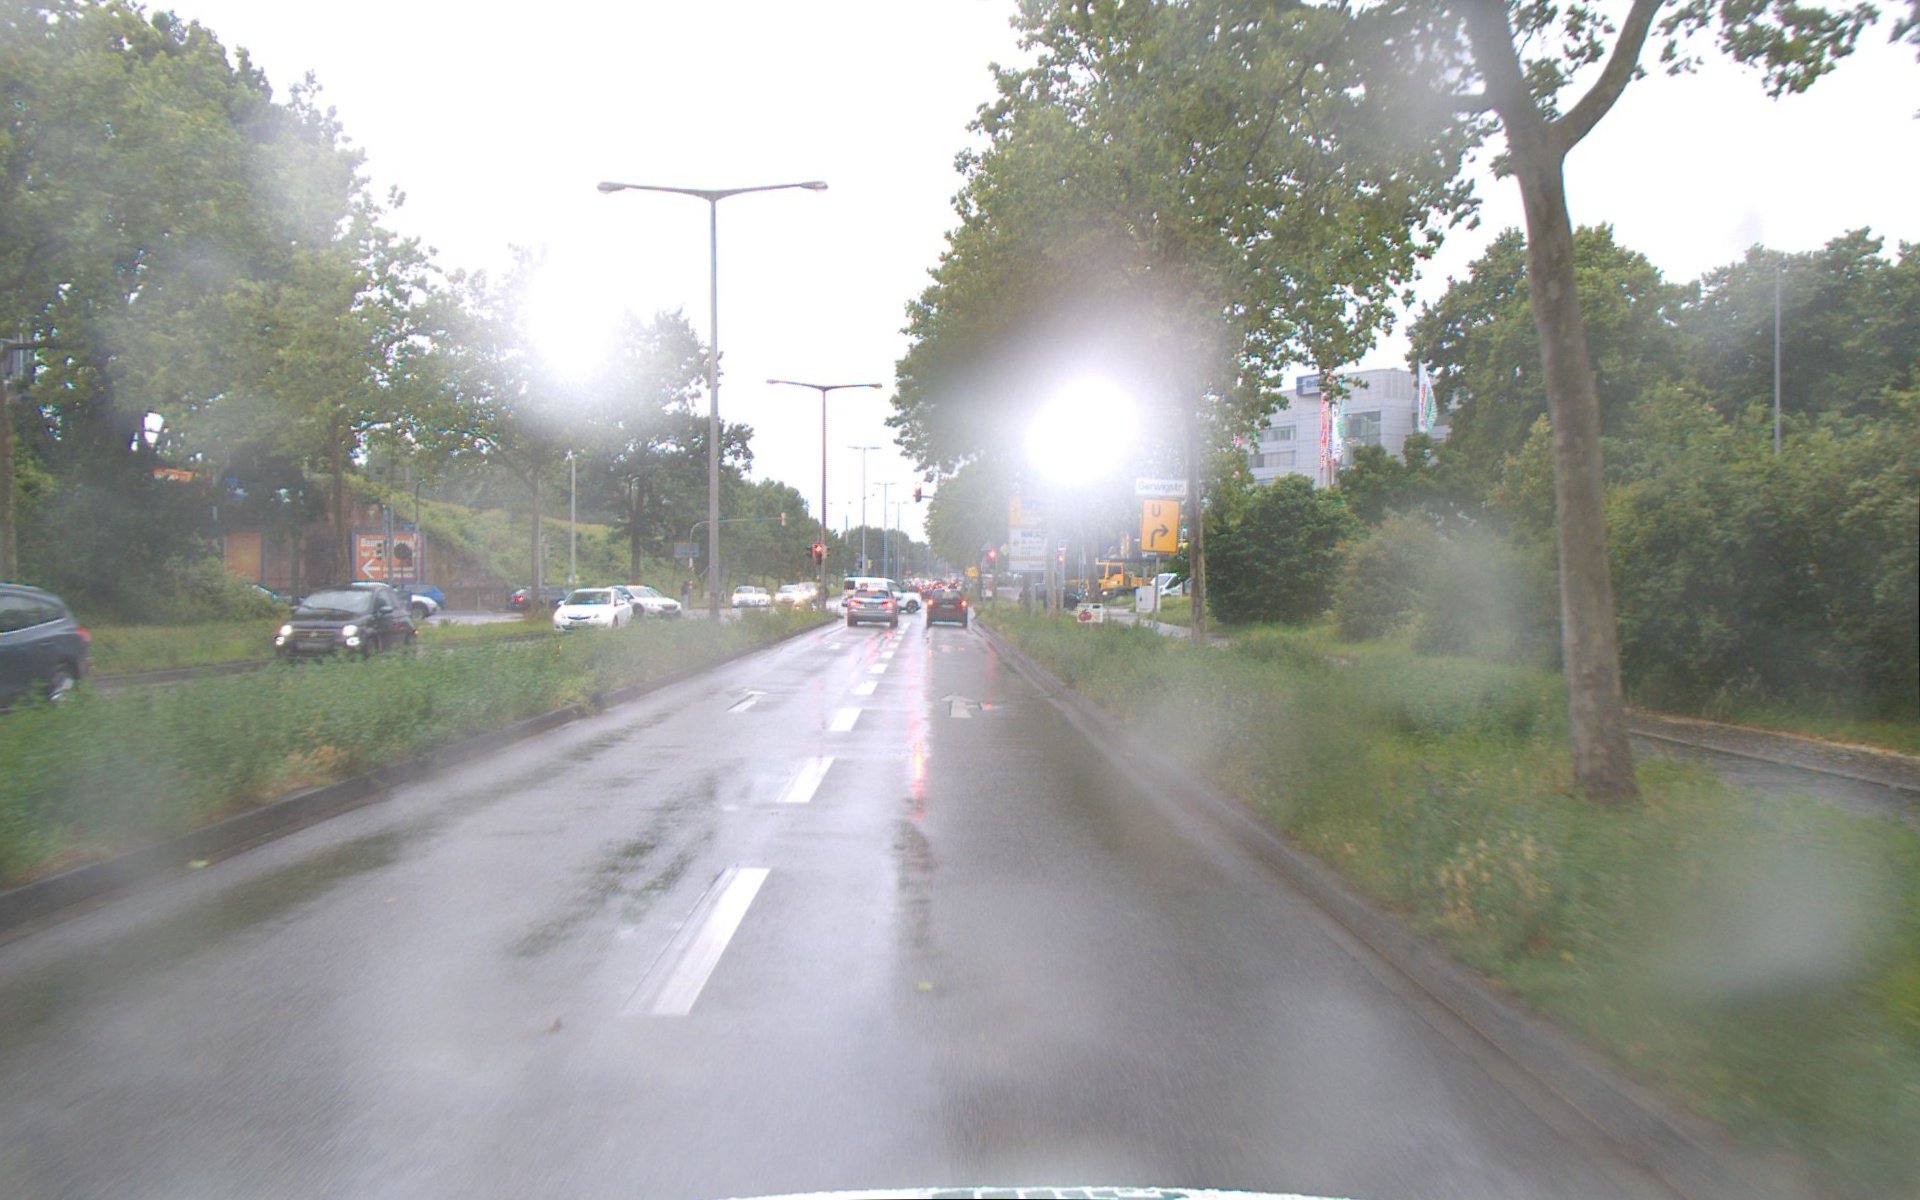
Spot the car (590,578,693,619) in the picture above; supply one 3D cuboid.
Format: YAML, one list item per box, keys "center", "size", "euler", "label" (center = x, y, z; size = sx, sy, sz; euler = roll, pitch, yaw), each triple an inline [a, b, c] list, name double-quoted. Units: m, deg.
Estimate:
- center: [-13.054, -0.090, 67.698]
  size: [4.437, 1.616, 1.852]
  euler: [0, 1, 42]
  label: "car"

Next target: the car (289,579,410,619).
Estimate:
- center: [-25.288, -0.052, 68.647]
  size: [4.423, 1.616, 1.858]
  euler: [0, 0, -11]
  label: "car"

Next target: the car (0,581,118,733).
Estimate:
- center: [-10.369, 0.554, 16.297]
  size: [1.892, 1.470, 4.496]
  euler: [1, 1, -1]
  label: "car"

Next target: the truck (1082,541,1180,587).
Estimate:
- center: [11.953, -2.479, 115.449]
  size: [6.976, 3.107, 2.611]
  euler: [0, 0, -38]
  label: "truck"

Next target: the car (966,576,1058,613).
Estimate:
- center: [2.504, -0.302, 79.032]
  size: [4.348, 1.563, 1.776]
  euler: [-3, 3, -41]
  label: "car"

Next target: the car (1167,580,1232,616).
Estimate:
- center: [16.356, -0.168, 112.675]
  size: [4.338, 2.228, 1.780]
  euler: [-3, 2, -36]
  label: "car"

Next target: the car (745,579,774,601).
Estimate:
- center: [-14.632, -0.754, 120.652]
  size: [1.677, 1.556, 4.000]
  euler: [0, 1, -1]
  label: "car"

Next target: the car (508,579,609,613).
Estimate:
- center: [-18.942, -0.187, 78.008]
  size: [4.326, 1.564, 1.784]
  euler: [0, 1, -30]
  label: "car"

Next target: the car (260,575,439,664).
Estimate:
- center: [-10.883, 0.304, 29.753]
  size: [1.892, 1.470, 3.707]
  euler: [1, 1, -1]
  label: "car"

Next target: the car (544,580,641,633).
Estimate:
- center: [-10.893, 0.158, 49.327]
  size: [1.892, 1.470, 4.656]
  euler: [1, 1, -1]
  label: "car"

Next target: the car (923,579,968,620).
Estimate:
- center: [-0.594, -0.052, 67.524]
  size: [1.759, 1.564, 4.387]
  euler: [2, 0, -1]
  label: "car"

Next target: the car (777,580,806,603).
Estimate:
- center: [-11.739, -0.602, 115.364]
  size: [1.677, 1.556, 4.000]
  euler: [0, 1, -1]
  label: "car"

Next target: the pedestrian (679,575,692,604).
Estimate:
- center: [-17.401, -0.650, 104.920]
  size: [0.522, 1.817, 0.673]
  euler: [1, 0, 17]
  label: "pedestrian"

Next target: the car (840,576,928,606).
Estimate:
- center: [-3.996, -0.467, 86.737]
  size: [4.326, 1.564, 1.784]
  euler: [0, 0, -30]
  label: "car"

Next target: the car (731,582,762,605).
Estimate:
- center: [-14.732, -0.470, 114.114]
  size: [1.677, 1.556, 4.000]
  euler: [0, 1, -1]
  label: "car"

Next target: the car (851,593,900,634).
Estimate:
- center: [-3.150, 0.482, 62.504]
  size: [1.655, 1.458, 4.574]
  euler: [1, 0, -1]
  label: "car"
